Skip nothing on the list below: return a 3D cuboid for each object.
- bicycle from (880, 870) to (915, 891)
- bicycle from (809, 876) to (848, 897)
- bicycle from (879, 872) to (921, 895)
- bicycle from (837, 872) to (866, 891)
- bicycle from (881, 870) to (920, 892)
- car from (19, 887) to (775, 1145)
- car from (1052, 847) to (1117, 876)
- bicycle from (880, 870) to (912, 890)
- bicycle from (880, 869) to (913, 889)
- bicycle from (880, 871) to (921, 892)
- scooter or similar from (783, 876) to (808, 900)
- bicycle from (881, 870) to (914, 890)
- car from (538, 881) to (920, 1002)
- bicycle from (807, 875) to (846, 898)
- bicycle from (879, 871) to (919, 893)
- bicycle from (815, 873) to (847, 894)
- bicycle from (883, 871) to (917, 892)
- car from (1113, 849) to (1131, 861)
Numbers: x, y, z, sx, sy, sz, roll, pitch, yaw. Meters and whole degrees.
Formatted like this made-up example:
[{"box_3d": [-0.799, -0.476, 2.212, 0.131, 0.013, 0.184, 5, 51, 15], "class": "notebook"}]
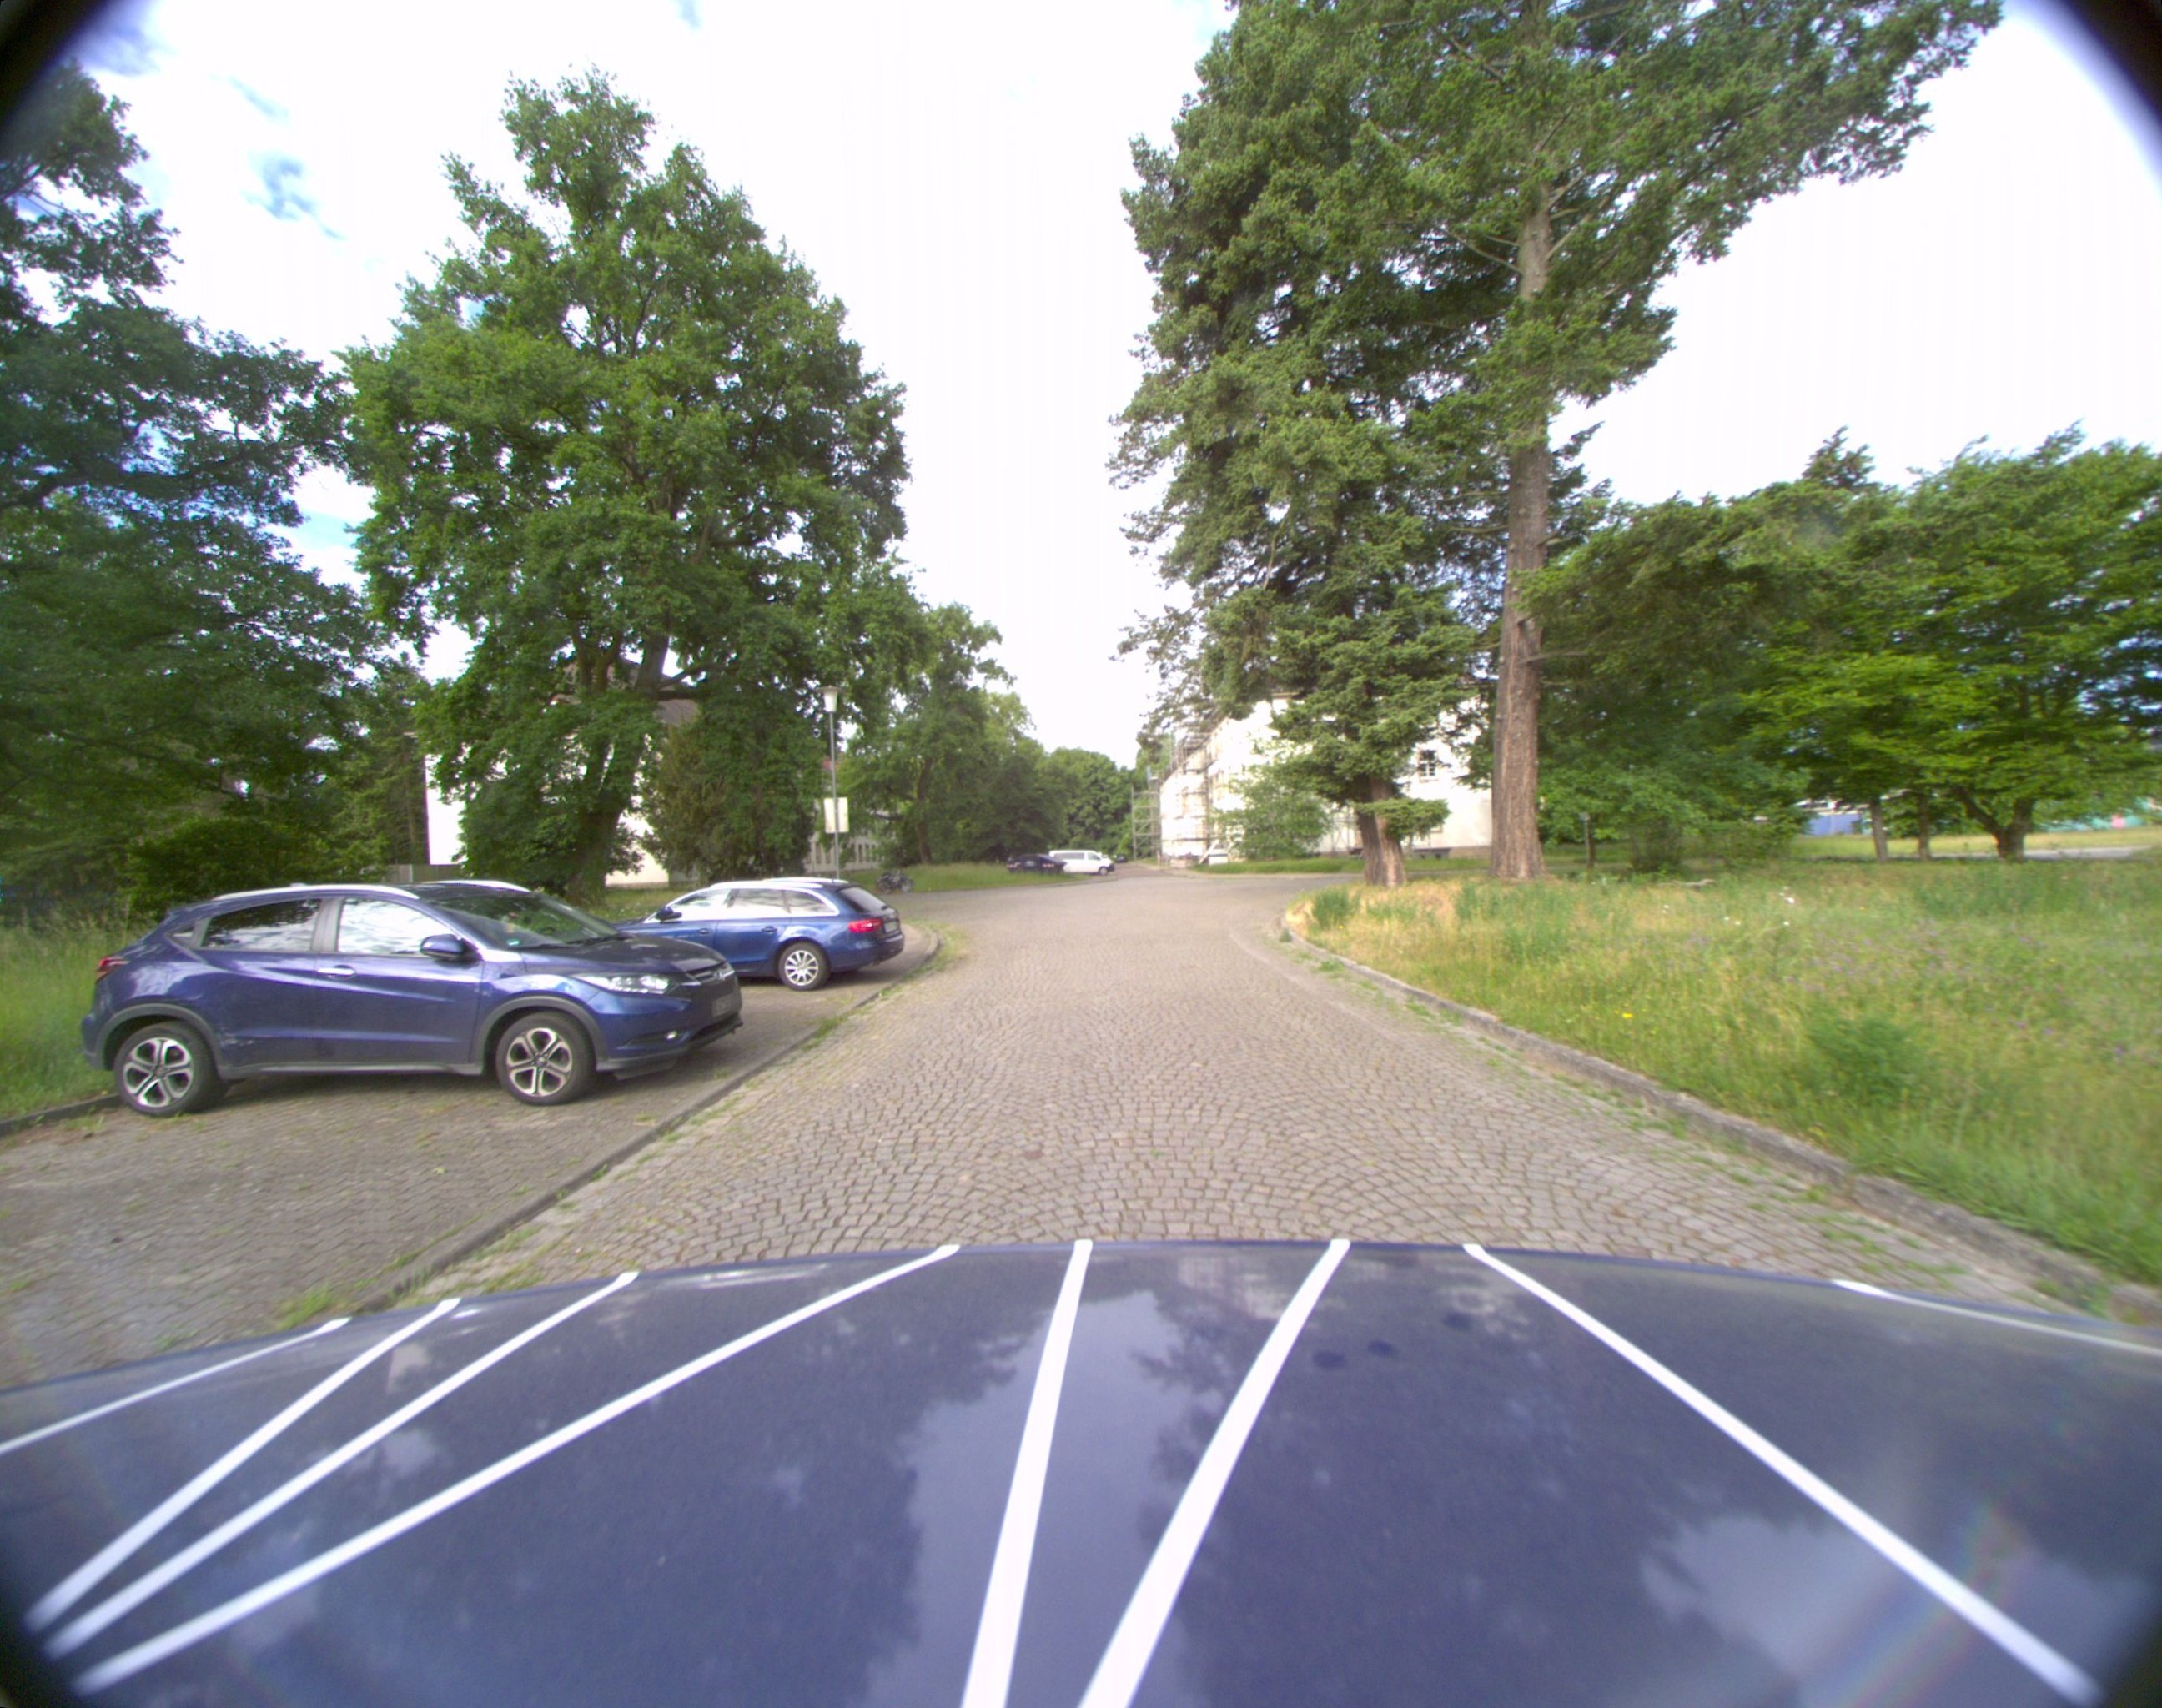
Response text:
[{"box_3d": [-10.396, 1.517, 43.049, 1.868, 1.082, 0.519, -2, 3, -20], "class": "bicycle"}, {"box_3d": [-13.375, 1.710, 40.264, 1.859, 0.984, 0.455, -2, 1, -26], "class": "bicycle"}, {"box_3d": [-9.363, 1.504, 39.331, 2.019, 1.082, 0.478, -2, 3, -21], "class": "bicycle"}, {"box_3d": [-13.383, 1.581, 44.331, 1.568, 1.028, 0.476, -2, 1, -23], "class": "bicycle"}, {"box_3d": [-9.866, 1.467, 41.528, 2.019, 1.082, 0.478, -2, 3, -21], "class": "bicycle"}, {"box_3d": [-4.980, 1.133, 6.037, 4.273, 1.564, 1.895, -1, 0, 1], "class": "car"}, {"box_3d": [0.233, 0.561, 59.426, 4.915, 1.983, 2.000, -2, 0, -1], "class": "car"}, {"box_3d": [-11.115, 1.530, 45.631, 1.753, 1.082, 0.552, -2, 3, -20], "class": "bicycle"}, {"box_3d": [-11.265, 1.527, 46.411, 1.827, 1.082, 0.552, -2, 3, -20], "class": "bicycle"}, {"box_3d": [-9.464, 1.432, 39.809, 2.019, 1.004, 0.478, -2, 3, -21], "class": "bicycle"}, {"box_3d": [-14.634, 1.749, 38.932, 1.063, 1.187, 0.385, -2, 1, 4], "class": "scooter or similar"}, {"box_3d": [-10.845, 1.523, 44.899, 1.810, 1.082, 0.552, -2, 3, -20], "class": "bicycle"}, {"box_3d": [-4.783, 1.175, 10.737, 4.514, 1.456, 1.896, -1, 0, 5], "class": "car"}, {"box_3d": [-13.287, 1.689, 39.687, 1.815, 1.082, 0.478, -2, 3, -26], "class": "bicycle"}, {"box_3d": [-9.813, 1.483, 40.889, 2.019, 1.082, 0.478, -2, 3, -21], "class": "bicycle"}, {"box_3d": [-13.778, 1.619, 41.954, 1.568, 1.082, 0.561, -2, 1, -29], "class": "bicycle"}, {"box_3d": [-10.073, 1.510, 42.321, 1.790, 1.082, 0.478, -2, 3, -20], "class": "bicycle"}, {"box_3d": [6.705, 0.220, 125.707, 2.028, 1.915, 3.997, -2, 0, -10], "class": "car"}]
